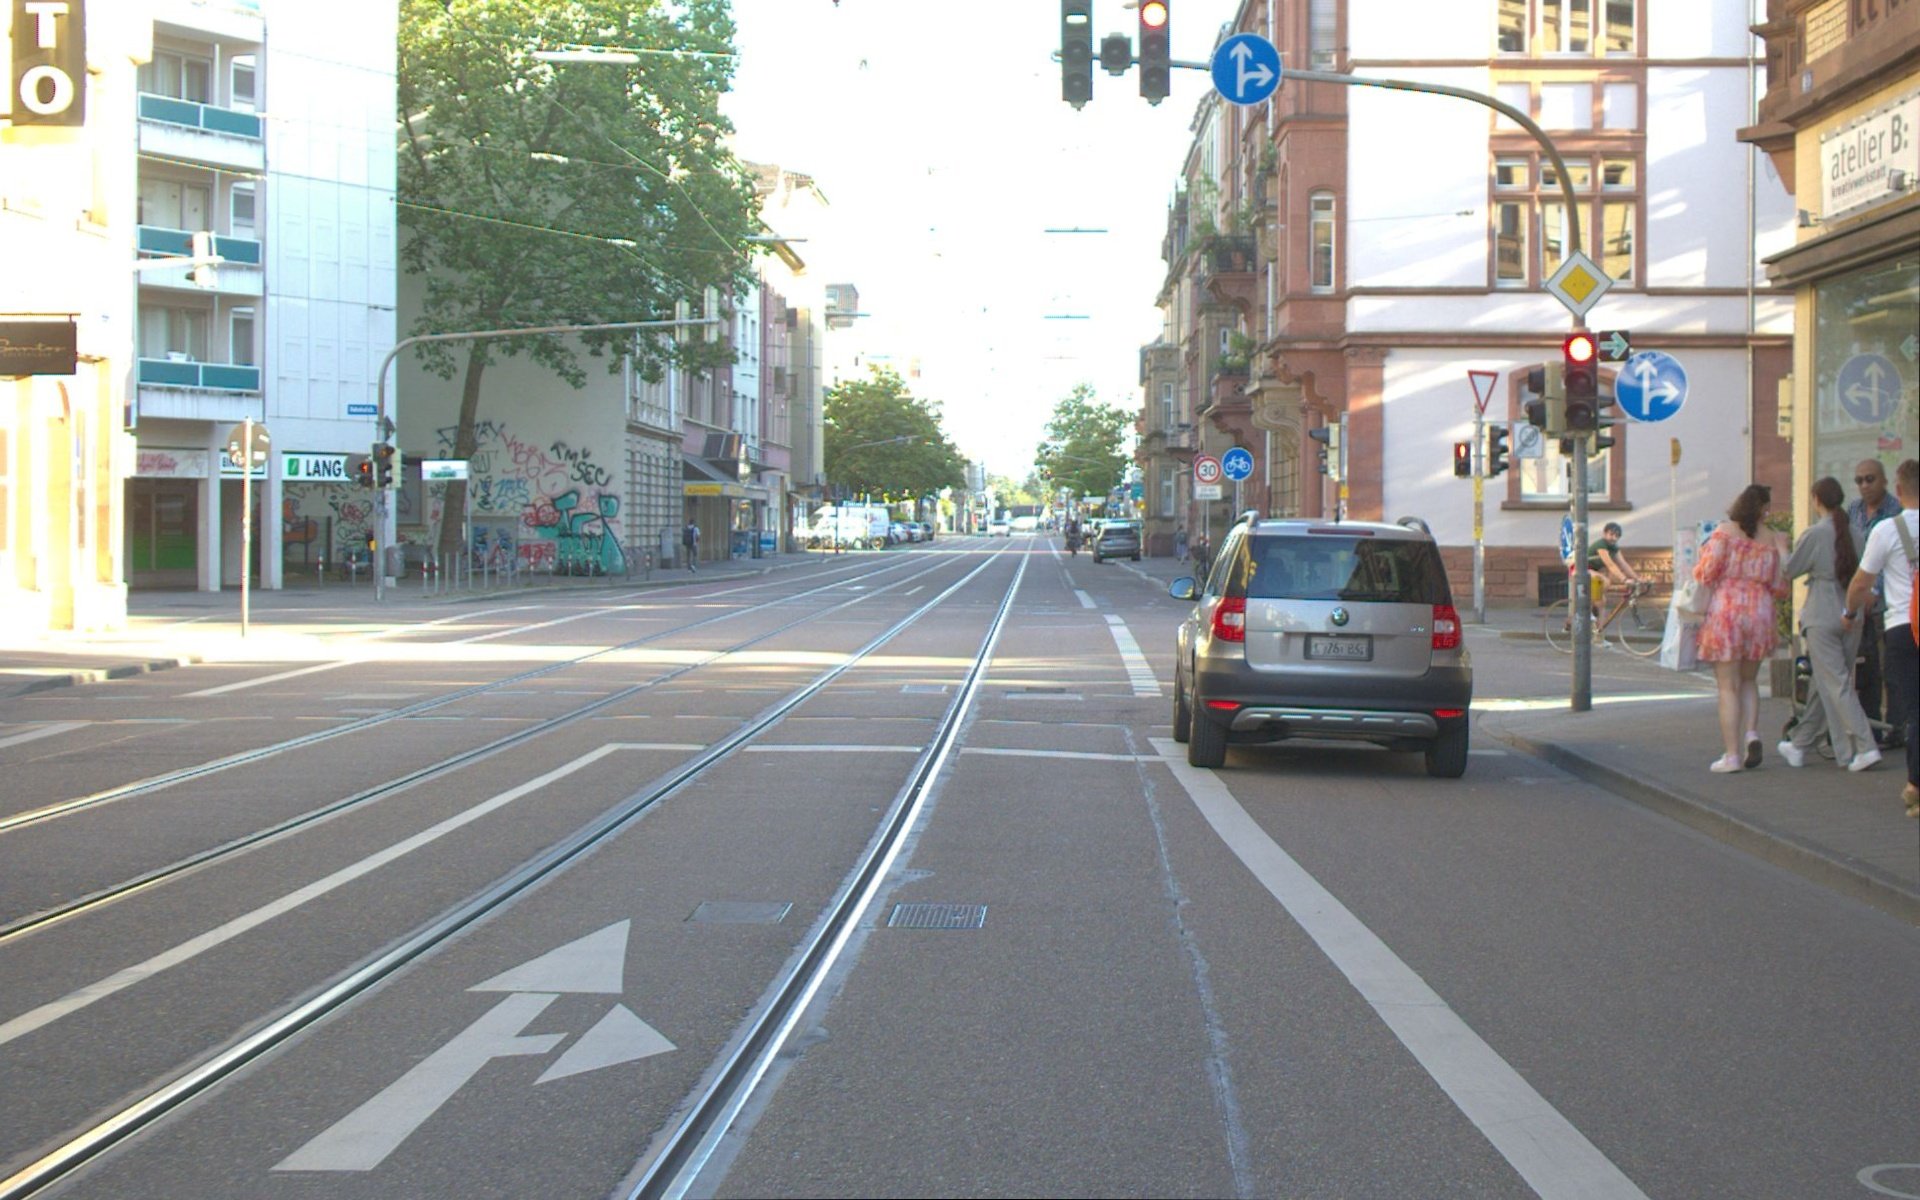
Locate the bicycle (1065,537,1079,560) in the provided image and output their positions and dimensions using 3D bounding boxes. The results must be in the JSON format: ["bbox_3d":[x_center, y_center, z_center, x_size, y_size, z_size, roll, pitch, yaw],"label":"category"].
[{"bbox_3d":[5.215,-2.393,160.039,0.575,1.027,1.895,2,0,3],"label":"bicycle"}]

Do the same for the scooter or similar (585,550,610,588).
[{"bbox_3d":[-10.184,-0.874,96.619,0.516,1.053,1.478,2,1,0],"label":"scooter or similar"}]

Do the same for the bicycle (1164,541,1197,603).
[{"bbox_3d":[4.849,-0.616,75.510,0.653,1.319,2.176,2,0,4],"label":"bicycle"}]

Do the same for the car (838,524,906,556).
[{"bbox_3d":[-5.914,-4.026,231.073,3.986,2.007,2.001,2,0,-23],"label":"car"}]

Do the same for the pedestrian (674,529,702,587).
[{"bbox_3d":[-8.185,-1.271,103.375,0.701,1.722,0.647,2,0,2],"label":"pedestrian"}]

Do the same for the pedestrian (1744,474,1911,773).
[{"bbox_3d":[5.365,0.135,21.294,0.805,1.794,0.761,-2,1,2],"label":"pedestrian"}]

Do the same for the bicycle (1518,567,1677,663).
[{"bbox_3d":[7.682,0.175,41.462,1.717,1.031,0.598,4,-1,32],"label":"bicycle"}]

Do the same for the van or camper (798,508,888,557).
[{"bbox_3d":[-6.655,-3.831,195.436,4.634,2.554,2.000,3,0,-29],"label":"van or camper"}]

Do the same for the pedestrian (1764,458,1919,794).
[{"bbox_3d":[5.134,0.143,20.024,0.690,1.902,0.670,-2,1,0],"label":"pedestrian"}]

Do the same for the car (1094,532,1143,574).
[{"bbox_3d":[6.690,-1.964,144.980,1.950,1.678,4.000,2,1,3],"label":"car"}]

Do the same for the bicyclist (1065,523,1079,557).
[{"bbox_3d":[5.229,-2.802,160.042,0.575,1.548,0.595,2,0,3],"label":"bicyclist"}]

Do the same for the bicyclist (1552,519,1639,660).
[{"bbox_3d":[7.661,-0.128,41.463,0.741,1.628,0.607,4,-1,33],"label":"bicyclist"}]

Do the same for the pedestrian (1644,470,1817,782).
[{"bbox_3d":[4.565,0.145,20.417,0.805,1.794,0.761,-2,1,0],"label":"pedestrian"}]

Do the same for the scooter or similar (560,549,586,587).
[{"bbox_3d":[-10.872,-0.902,96.607,0.516,1.042,1.478,2,1,0],"label":"scooter or similar"}]

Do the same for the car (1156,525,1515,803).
[{"bbox_3d":[2.433,0.375,23.264,1.993,1.612,4.000,3,1,1],"label":"car"}]

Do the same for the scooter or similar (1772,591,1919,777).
[{"bbox_3d":[5.356,0.499,20.642,0.805,1.066,0.521,-2,0,2],"label":"scooter or similar"}]

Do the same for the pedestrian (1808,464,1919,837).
[{"bbox_3d":[4.794,0.227,17.163,0.805,1.794,1.092,-2,1,0],"label":"pedestrian"}]
